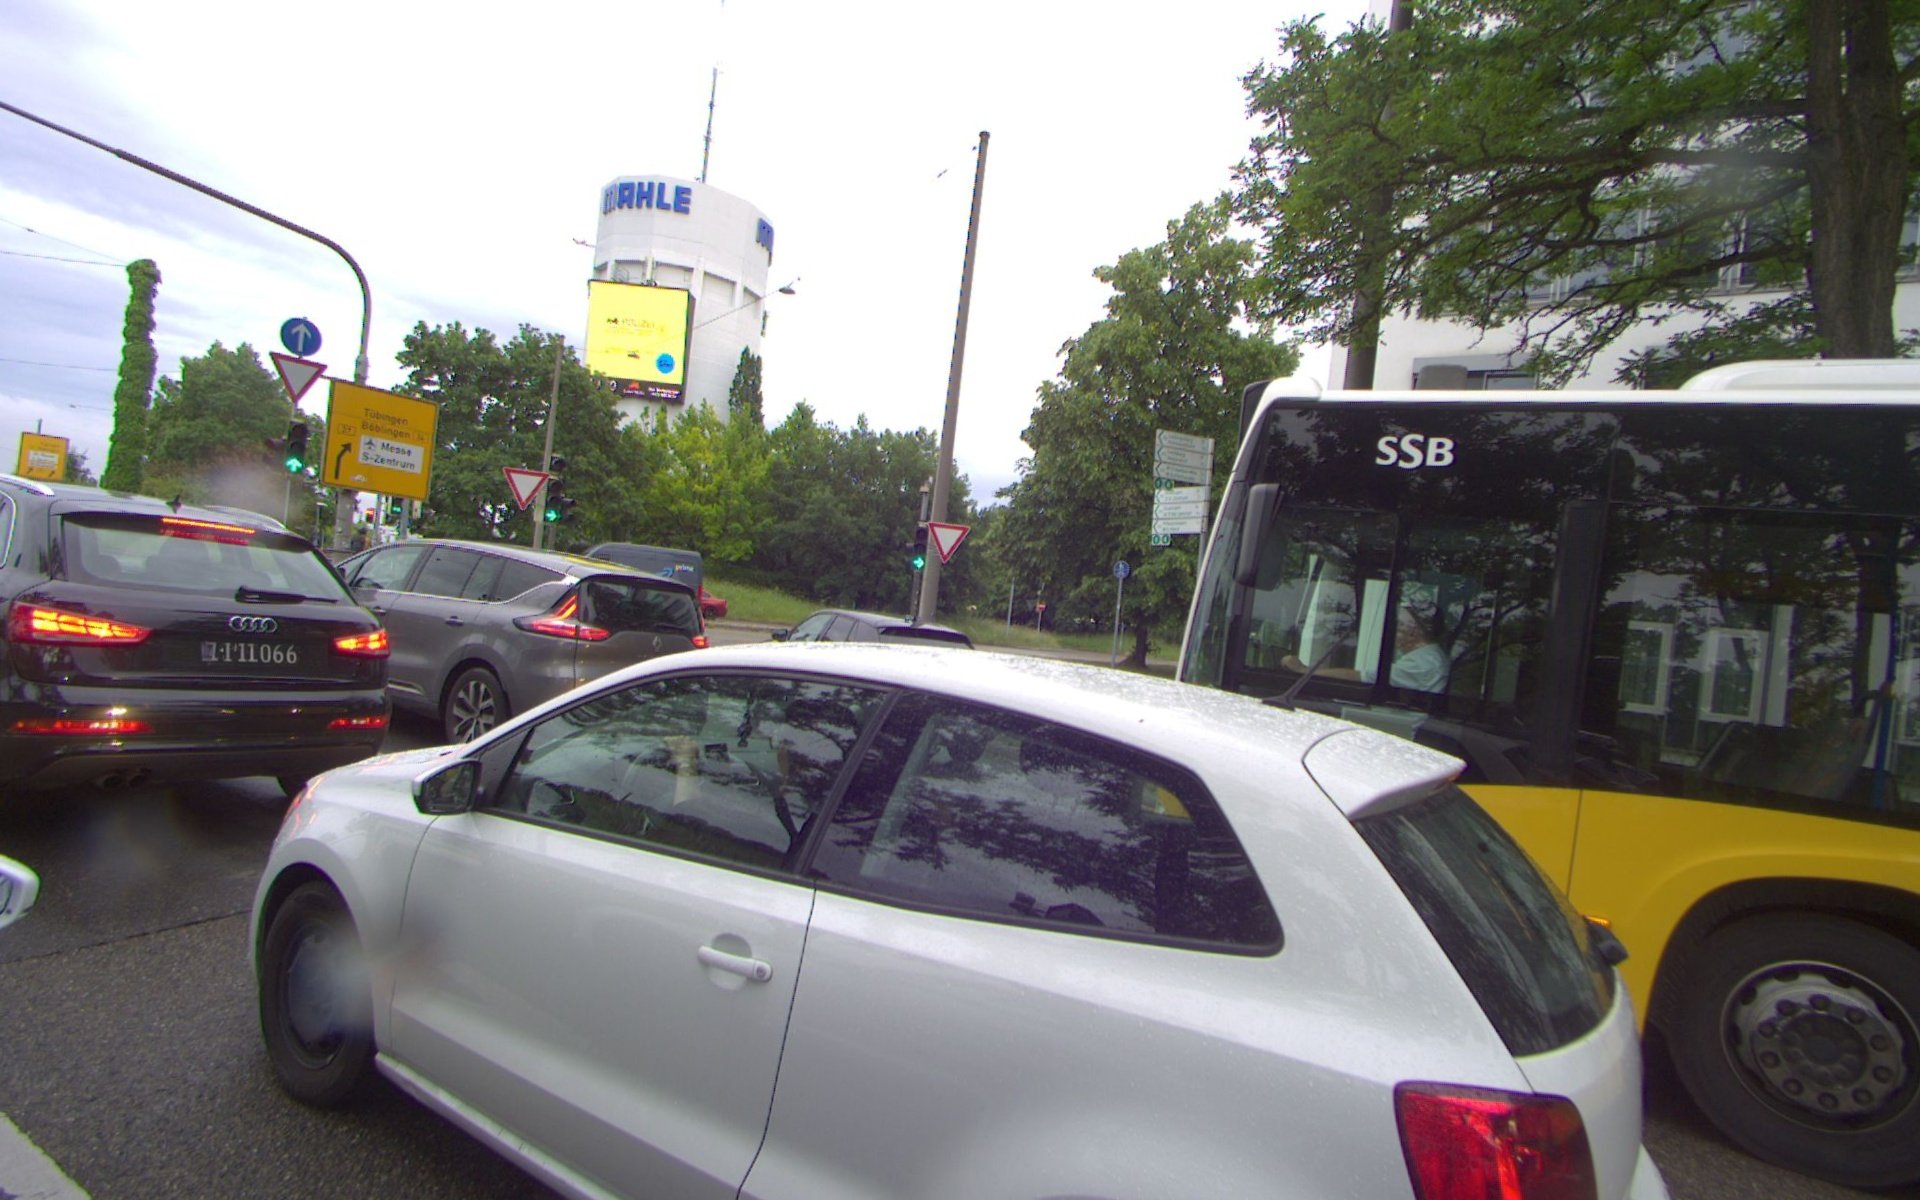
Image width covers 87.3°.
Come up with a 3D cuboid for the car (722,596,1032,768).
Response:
[{"bbox_3d":[-1.170,0.851,11.841,1.851,1.516,4.117,5,-1,-32],"label":"car"}]

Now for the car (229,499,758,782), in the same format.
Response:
[{"bbox_3d":[-4.214,0.253,8.902,4.488,1.694,1.869,8,-1,30],"label":"car"}]

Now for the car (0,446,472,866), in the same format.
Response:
[{"bbox_3d":[-4.935,0.141,5.664,4.045,1.613,1.889,6,-3,31],"label":"car"}]

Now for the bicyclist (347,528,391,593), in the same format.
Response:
[{"bbox_3d":[-15.799,-1.054,26.898,0.803,1.602,1.015,9,-2,-32],"label":"bicyclist"}]

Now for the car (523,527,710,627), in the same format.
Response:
[{"bbox_3d":[-12.583,-0.777,37.062,5.972,2.772,2.065,8,-3,-33],"label":"car"}]

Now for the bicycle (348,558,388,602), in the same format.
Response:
[{"bbox_3d":[-15.843,-0.553,26.922,0.802,1.035,2.310,6,-1,-31],"label":"bicycle"}]

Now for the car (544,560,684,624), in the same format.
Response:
[{"bbox_3d":[-11.739,-0.244,34.229,4.027,1.586,1.854,9,-4,-36],"label":"car"}]

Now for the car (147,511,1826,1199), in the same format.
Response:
[{"bbox_3d":[-0.309,0.717,2.797,3.748,1.448,1.745,6,-3,31],"label":"car"}]

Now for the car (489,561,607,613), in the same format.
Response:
[{"bbox_3d":[-17.196,-0.527,42.050,4.112,1.582,1.852,9,-2,-38],"label":"car"}]

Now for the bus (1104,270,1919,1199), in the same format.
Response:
[{"bbox_3d":[6.654,0.933,2.940,11.943,3.187,2.733,7,-2,32],"label":"bus"}]
